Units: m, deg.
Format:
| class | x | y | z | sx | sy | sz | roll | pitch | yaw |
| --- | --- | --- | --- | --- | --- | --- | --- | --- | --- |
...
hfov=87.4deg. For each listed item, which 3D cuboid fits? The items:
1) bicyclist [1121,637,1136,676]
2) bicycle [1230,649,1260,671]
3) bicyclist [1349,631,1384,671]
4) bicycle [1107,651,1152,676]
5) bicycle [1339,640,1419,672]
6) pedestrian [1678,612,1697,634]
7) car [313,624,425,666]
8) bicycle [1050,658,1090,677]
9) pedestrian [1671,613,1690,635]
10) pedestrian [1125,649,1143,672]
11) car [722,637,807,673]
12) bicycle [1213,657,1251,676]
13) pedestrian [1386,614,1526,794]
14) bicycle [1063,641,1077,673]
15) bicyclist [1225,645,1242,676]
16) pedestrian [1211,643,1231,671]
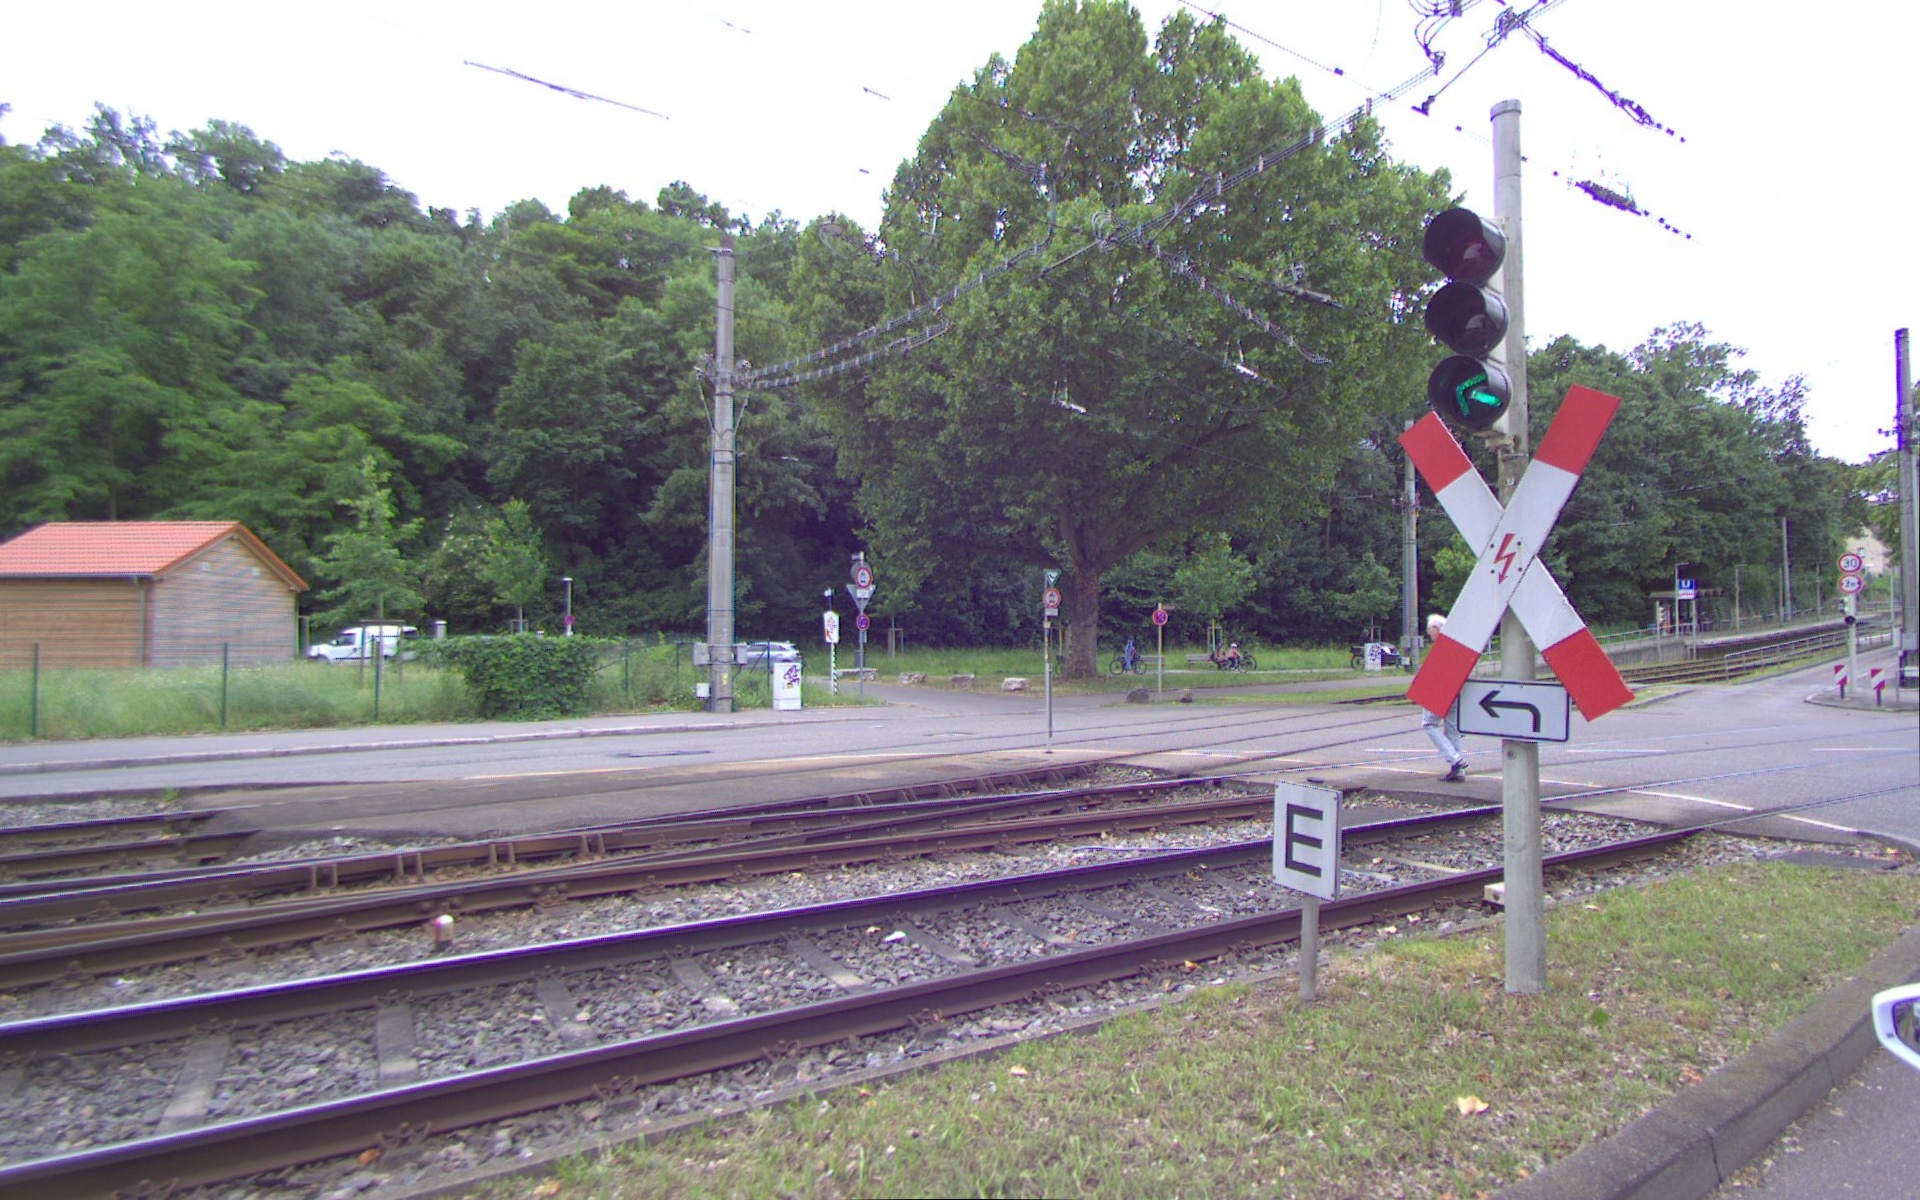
| class | x | y | z | sx | sy | sz | roll | pitch | yaw |
| --- | --- | --- | --- | --- | --- | --- | --- | --- | --- |
| bicyclist | 7.401 | 2.471 | 44.057 | 0.611 | 1.697 | 0.475 | 0 | 1 | 7 |
| bicycle | 13.268 | 2.784 | 46.807 | 0.611 | 0.897 | 1.743 | 2 | 0 | -9 |
| bicyclist | 18.234 | 2.286 | 45.079 | 1.266 | 1.734 | 0.735 | -1 | 2 | 3 |
| bicycle | 7.429 | 2.798 | 44.065 | 1.905 | 1.055 | 0.475 | 0 | 1 | 7 |
| bicycle | 18.785 | 2.495 | 45.064 | 3.279 | 1.307 | 0.735 | -1 | 2 | 3 |
| pedestrian | 46.698 | 1.468 | 64.490 | 0.780 | 1.344 | 0.766 | 2 | 0 | -37 |
| car | -25.471 | 1.930 | 43.387 | 3.610 | 1.634 | 1.909 | 2 | 0 | -3 |
| bicycle | 4.722 | 2.907 | 43.112 | 1.623 | 0.749 | 0.454 | -1 | 1 | -10 |
| pedestrian | 45.677 | 1.497 | 63.689 | 0.779 | 1.344 | 0.766 | -1 | 2 | -37 |
| pedestrian | 7.950 | 2.759 | 45.890 | 0.610 | 1.003 | 0.531 | 2 | 0 | -14 |
| car | -8.621 | 2.421 | 44.558 | 3.436 | 1.443 | 1.700 | 2 | 0 | -3 |
| bicycle | 12.016 | 2.940 | 44.409 | 1.530 | 0.749 | 0.454 | -2 | 2 | -8 |
| pedestrian | 5.304 | 1.057 | 10.752 | 0.808 | 1.783 | 1.106 | 2 | 0 | -44 |
| bicycle | 4.730 | 2.433 | 43.101 | 0.507 | 1.348 | 0.454 | -1 | 1 | -9 |
| bicyclist | 12.074 | 2.660 | 44.408 | 0.570 | 1.319 | 0.454 | -2 | 2 | -7 |
| pedestrian | 12.030 | 2.624 | 46.250 | 0.662 | 1.251 | 0.578 | 2 | 0 | -16 |
